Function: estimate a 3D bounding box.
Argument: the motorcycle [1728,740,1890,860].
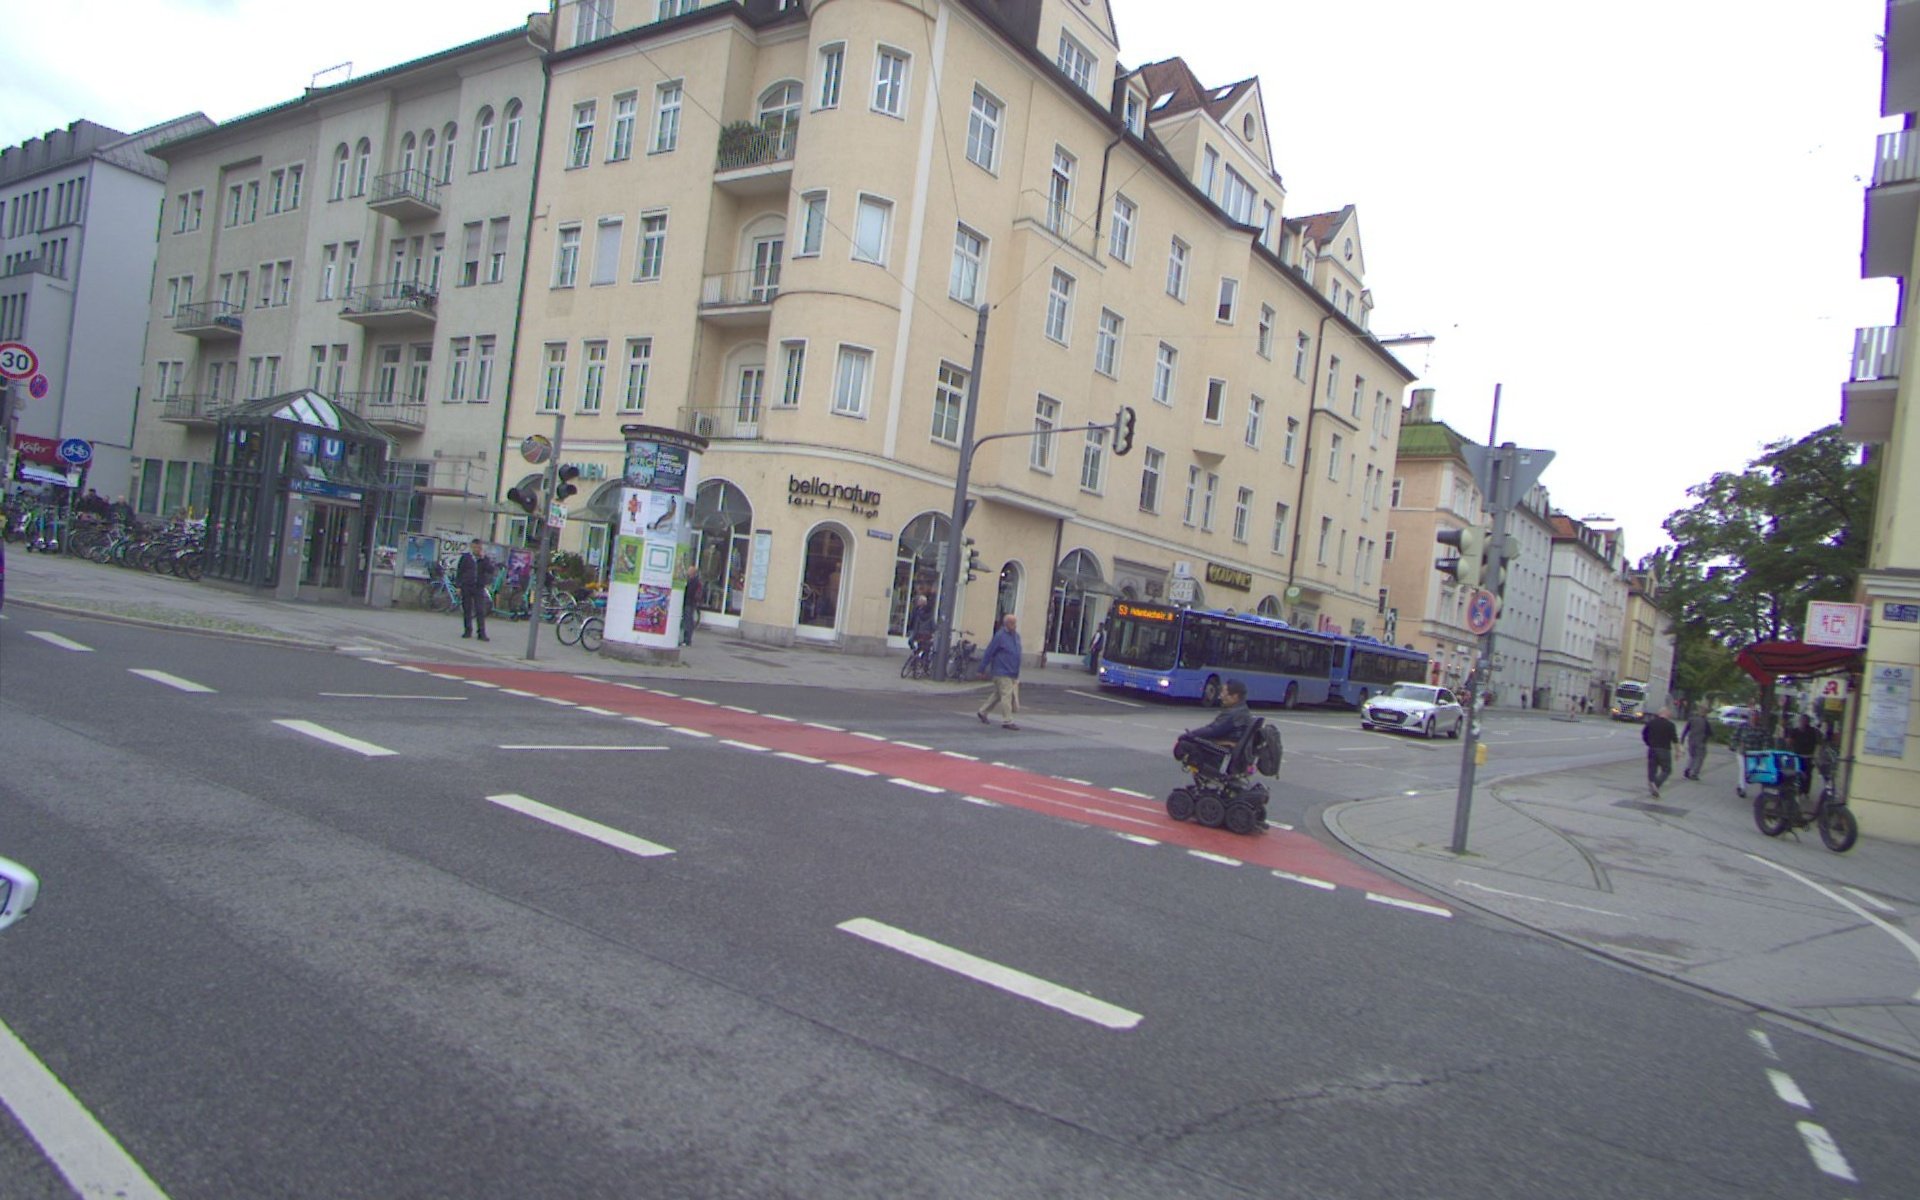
[{"bbox_3d":[11.117,2.577,13.256,0.532,1.214,1.767,7,-1,2],"label":"motorcycle"}]

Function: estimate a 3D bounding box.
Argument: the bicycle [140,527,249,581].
[{"bbox_3d":[-17.277,-1.017,22.748,0.500,0.976,1.841,7,0,30],"label":"bicycle"}]

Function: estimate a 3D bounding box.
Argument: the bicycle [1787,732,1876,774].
[{"bbox_3d":[34.550,6.048,39.906,0.748,1.203,2.461,7,0,-32],"label":"bicycle"}]

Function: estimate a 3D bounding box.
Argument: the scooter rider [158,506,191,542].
[{"bbox_3d":[-29.674,-2.865,38.011,0.707,1.235,0.686,7,1,30],"label":"scooter rider"}]

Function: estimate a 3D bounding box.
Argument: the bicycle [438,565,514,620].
[{"bbox_3d":[-10.543,-0.174,21.891,1.835,0.987,0.495,7,0,32],"label":"bicycle"}]

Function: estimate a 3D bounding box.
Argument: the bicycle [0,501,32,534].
[{"bbox_3d":[-31.418,-2.749,33.058,0.363,0.993,1.246,7,0,28],"label":"bicycle"}]

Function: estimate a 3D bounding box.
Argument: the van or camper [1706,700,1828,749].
[{"bbox_3d":[54.982,8.466,68.685,6.019,2.305,2.001,7,0,15],"label":"van or camper"}]

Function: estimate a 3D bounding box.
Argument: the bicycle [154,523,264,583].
[{"bbox_3d":[-16.753,-1.032,22.481,0.500,1.107,1.841,7,0,30],"label":"bicycle"}]

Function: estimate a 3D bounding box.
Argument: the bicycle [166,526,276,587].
[{"bbox_3d":[-16.275,-0.943,22.207,0.500,1.107,1.841,7,0,30],"label":"bicycle"}]

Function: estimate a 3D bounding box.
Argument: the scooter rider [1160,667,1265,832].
[{"bbox_3d":[2.388,1.378,9.486,0.632,1.406,0.702,7,0,30],"label":"scooter rider"}]

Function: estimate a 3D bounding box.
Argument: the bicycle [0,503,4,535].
[{"bbox_3d":[-29.871,-2.548,30.485,0.363,0.975,1.183,7,0,30],"label":"bicycle"}]

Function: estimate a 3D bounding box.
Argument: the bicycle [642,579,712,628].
[{"bbox_3d":[-7.625,0.092,27.062,1.833,1.103,0.495,7,0,26],"label":"bicycle"}]

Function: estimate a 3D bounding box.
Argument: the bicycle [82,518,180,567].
[{"bbox_3d":[-20.583,-1.415,25.018,0.445,0.976,1.757,7,0,30],"label":"bicycle"}]

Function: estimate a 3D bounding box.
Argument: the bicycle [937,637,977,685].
[{"bbox_3d":[-0.060,1.413,23.480,0.350,1.046,1.584,7,0,17],"label":"bicycle"}]

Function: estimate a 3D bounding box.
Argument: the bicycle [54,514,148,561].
[{"bbox_3d":[-22.175,-1.602,26.005,0.363,0.976,1.756,7,0,32],"label":"bicycle"}]

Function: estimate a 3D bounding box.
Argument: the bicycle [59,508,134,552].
[{"bbox_3d":[-25.639,-2.074,29.886,0.443,1.088,1.553,7,0,27],"label":"bicycle"}]

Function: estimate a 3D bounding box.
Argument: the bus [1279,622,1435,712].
[{"bbox_3d":[17.022,2.964,42.625,2.776,3.003,9.540,9,0,42],"label":"bus"}]

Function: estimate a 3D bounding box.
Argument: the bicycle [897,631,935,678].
[{"bbox_3d":[-1.018,1.268,23.507,0.244,1.046,1.584,7,0,17],"label":"bicycle"}]

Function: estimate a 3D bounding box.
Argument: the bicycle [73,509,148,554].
[{"bbox_3d":[-25.048,-2.004,29.671,0.444,1.088,1.551,7,0,33],"label":"bicycle"}]

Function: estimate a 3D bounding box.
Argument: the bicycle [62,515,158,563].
[{"bbox_3d":[-21.620,-1.530,25.615,0.445,0.976,1.756,7,0,32],"label":"bicycle"}]

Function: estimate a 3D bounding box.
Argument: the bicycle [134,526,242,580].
[{"bbox_3d":[-17.684,-1.063,23.082,0.500,0.976,1.841,7,0,30],"label":"bicycle"}]

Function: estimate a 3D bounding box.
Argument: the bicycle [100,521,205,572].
[{"bbox_3d":[-19.317,-1.261,24.121,0.500,0.976,1.841,7,0,30],"label":"bicycle"}]

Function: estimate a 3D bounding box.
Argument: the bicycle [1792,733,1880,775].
[{"bbox_3d":[35.221,6.179,40.483,0.748,1.257,2.461,7,0,-32],"label":"bicycle"}]

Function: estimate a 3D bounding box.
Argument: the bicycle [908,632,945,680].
[{"bbox_3d":[-0.765,1.304,23.446,0.244,1.046,1.584,7,0,17],"label":"bicycle"}]

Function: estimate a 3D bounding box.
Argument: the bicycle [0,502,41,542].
[{"bbox_3d":[-27.370,-2.265,28.904,0.363,1.012,1.316,7,0,32],"label":"bicycle"}]

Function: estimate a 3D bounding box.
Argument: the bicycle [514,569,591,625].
[{"bbox_3d":[-9.542,-0.081,23.524,1.834,1.072,0.495,7,0,27],"label":"bicycle"}]

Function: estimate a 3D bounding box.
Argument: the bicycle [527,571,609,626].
[{"bbox_3d":[-9.415,-0.030,24.165,1.831,1.072,0.496,7,0,17],"label":"bicycle"}]

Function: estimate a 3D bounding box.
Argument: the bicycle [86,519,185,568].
[{"bbox_3d":[-20.203,-1.374,24.692,0.445,0.976,1.757,7,0,30],"label":"bicycle"}]

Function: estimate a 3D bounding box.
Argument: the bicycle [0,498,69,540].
[{"bbox_3d":[-29.279,-2.555,31.856,0.362,1.088,1.504,7,0,25],"label":"bicycle"}]

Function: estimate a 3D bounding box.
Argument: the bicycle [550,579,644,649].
[{"bbox_3d":[-6.926,0.287,19.276,0.516,1.175,1.569,9,2,34],"label":"bicycle"}]

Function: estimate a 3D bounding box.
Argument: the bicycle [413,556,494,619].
[{"bbox_3d":[-10.819,-0.278,21.456,1.835,1.121,0.567,7,0,32],"label":"bicycle"}]

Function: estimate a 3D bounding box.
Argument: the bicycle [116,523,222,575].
[{"bbox_3d":[-18.617,-1.174,23.717,0.500,0.976,1.841,7,0,30],"label":"bicycle"}]

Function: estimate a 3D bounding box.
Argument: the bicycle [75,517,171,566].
[{"bbox_3d":[-21.109,-1.463,25.404,0.445,0.976,1.757,7,0,30],"label":"bicycle"}]

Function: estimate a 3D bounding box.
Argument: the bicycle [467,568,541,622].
[{"bbox_3d":[-10.195,-0.123,22.473,1.835,0.987,0.495,7,0,32],"label":"bicycle"}]

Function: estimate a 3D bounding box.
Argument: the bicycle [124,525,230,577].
[{"bbox_3d":[-18.190,-1.123,23.418,0.500,0.976,1.841,7,0,30],"label":"bicycle"}]

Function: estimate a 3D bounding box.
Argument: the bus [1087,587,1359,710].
[{"bbox_3d":[9.440,1.894,33.978,2.776,3.003,13.541,9,0,42],"label":"bus"}]
